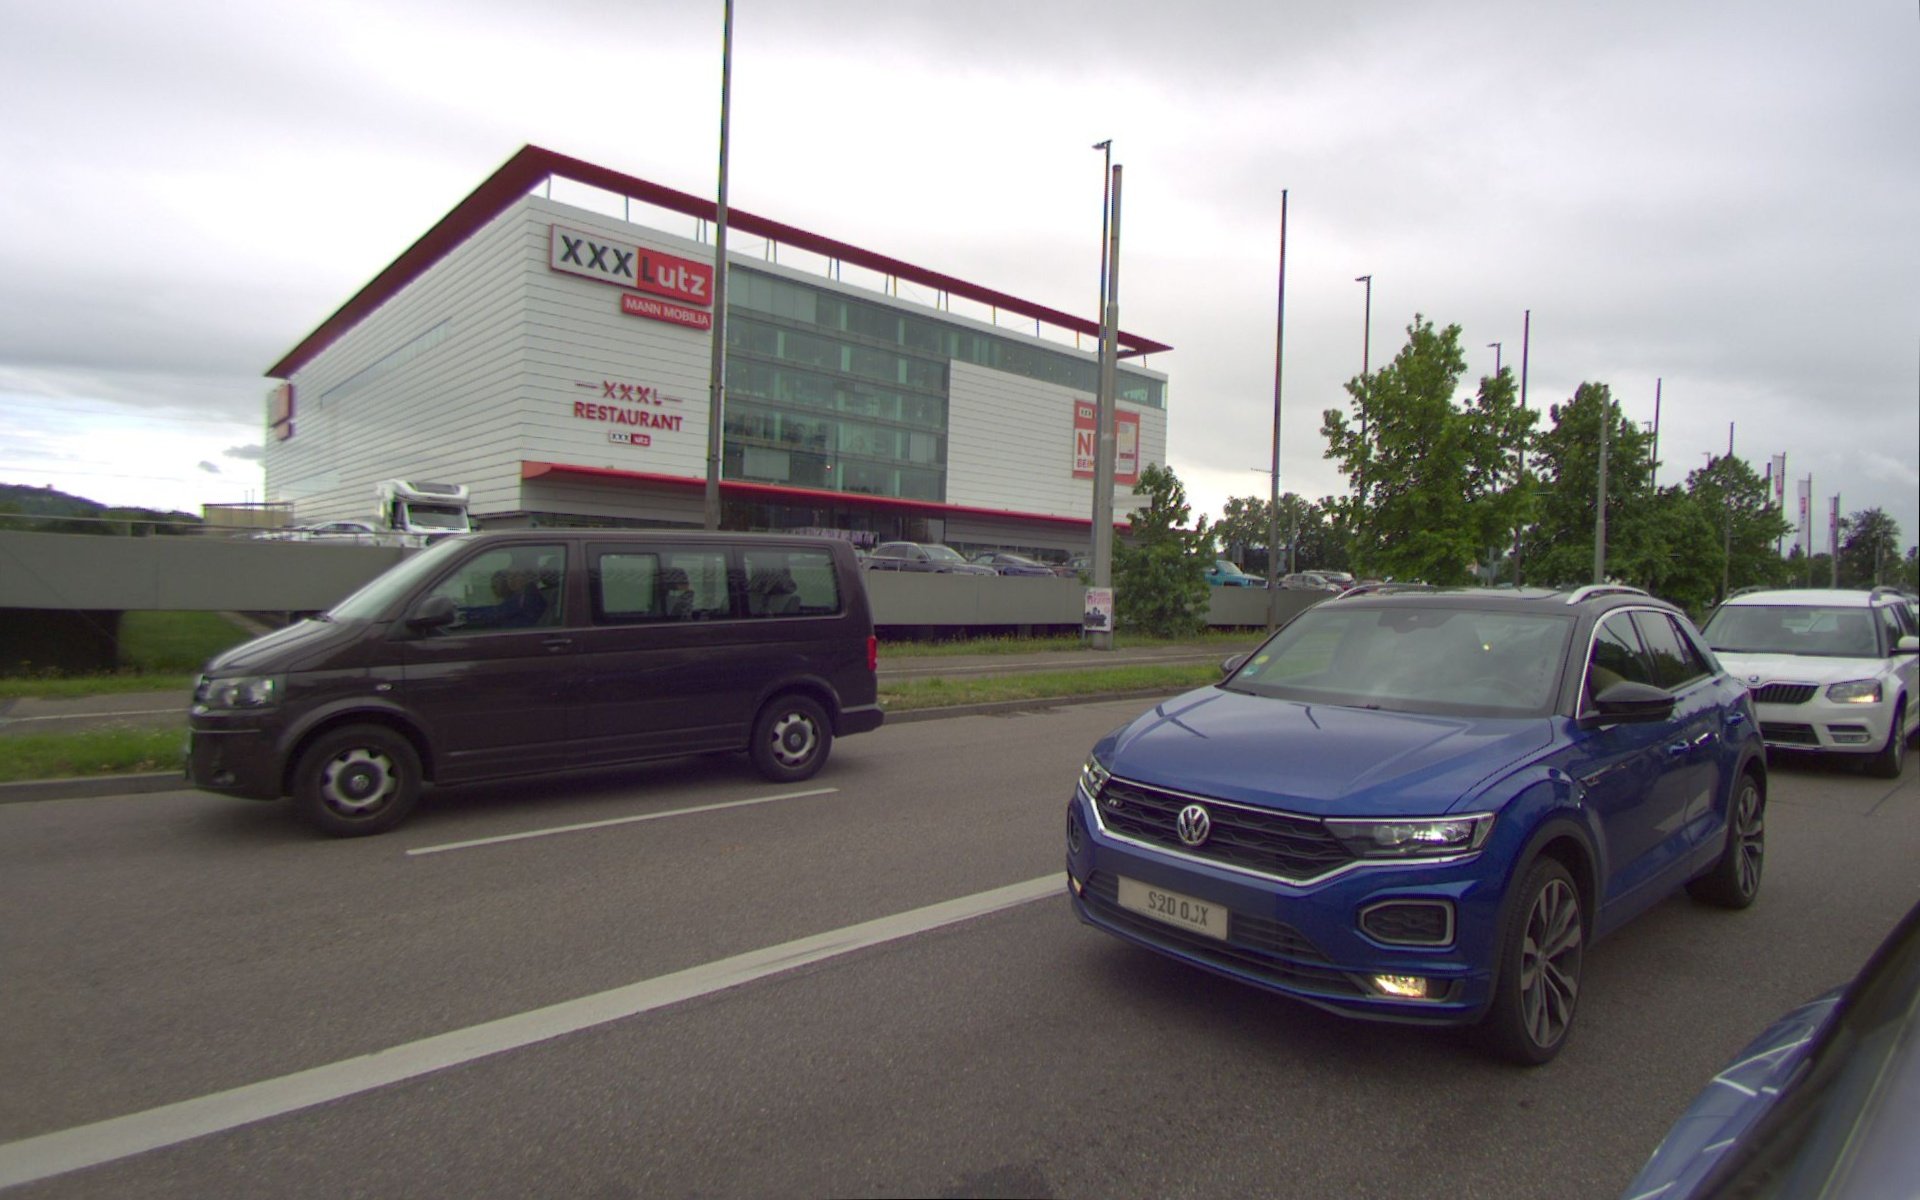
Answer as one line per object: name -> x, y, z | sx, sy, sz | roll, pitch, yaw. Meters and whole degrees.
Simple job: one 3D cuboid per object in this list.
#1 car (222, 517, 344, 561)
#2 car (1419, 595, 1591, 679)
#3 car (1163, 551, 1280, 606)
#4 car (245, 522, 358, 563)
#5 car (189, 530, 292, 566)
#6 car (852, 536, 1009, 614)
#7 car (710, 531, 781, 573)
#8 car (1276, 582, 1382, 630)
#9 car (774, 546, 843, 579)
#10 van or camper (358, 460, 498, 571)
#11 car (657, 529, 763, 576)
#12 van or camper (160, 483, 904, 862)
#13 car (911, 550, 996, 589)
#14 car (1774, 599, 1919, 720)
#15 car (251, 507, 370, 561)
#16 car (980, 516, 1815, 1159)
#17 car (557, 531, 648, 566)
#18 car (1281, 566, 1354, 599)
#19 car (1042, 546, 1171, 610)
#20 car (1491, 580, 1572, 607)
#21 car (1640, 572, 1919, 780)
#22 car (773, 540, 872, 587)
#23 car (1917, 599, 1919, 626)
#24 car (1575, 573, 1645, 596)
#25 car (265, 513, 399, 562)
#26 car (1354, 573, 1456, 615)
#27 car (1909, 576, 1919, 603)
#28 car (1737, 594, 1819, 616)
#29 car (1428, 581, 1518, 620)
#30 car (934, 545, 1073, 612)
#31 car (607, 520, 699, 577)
car -> -29.035, -2.590, 43.487 | 4.185, 1.697, 1.774 | -1, 0, -41
car -> 10.277, 0.616, 18.964 | 3.860, 1.389, 1.691 | -1, 1, -43
car -> 10.087, -0.802, 39.197 | 1.966, 2.039, 3.991 | 0, 0, -42
car -> -30.161, -2.589, 46.421 | 4.185, 1.697, 1.774 | -1, 0, -41
car -> -36.765, -2.628, 51.781 | 4.185, 1.697, 1.774 | -1, 0, -41
car -> -0.905, -0.672, 28.656 | 1.967, 2.039, 4.522 | 0, 0, -43
car -> -11.351, -2.507, 53.391 | 1.966, 2.039, 3.991 | 0, 0, -42
car -> 16.423, 0.231, 45.186 | 1.966, 2.039, 3.991 | 0, 0, -42
car -> -8.578, -2.098, 57.293 | 1.967, 1.761, 3.991 | -1, 0, -43
van or camper -> -17.985, -2.637, 33.955 | 2.667, 3.175, 7.226 | 0, 0, -40
car -> -8.713, -1.610, 35.063 | 1.839, 1.455, 3.984 | -1, 1, -44
van or camper -> -3.037, 0.361, 7.798 | 4.852, 2.039, 2.163 | -1, 0, -38
car -> -0.355, -1.435, 49.027 | 1.967, 1.761, 3.991 | -1, 0, -43
car -> 12.938, 0.727, 14.086 | 4.145, 1.433, 1.800 | -1, 0, -41
car -> -26.804, -2.663, 41.793 | 3.929, 2.039, 1.998 | -1, 0, -40
car -> 2.291, 0.580, 4.673 | 4.255, 1.642, 1.845 | -1, 0, -40
car -> -18.707, -2.662, 53.016 | 4.185, 1.697, 1.774 | -1, 0, -41
car -> 22.904, -1.091, 64.940 | 1.966, 2.039, 3.991 | 0, 0, -42
car -> 4.928, -0.706, 34.373 | 1.966, 2.039, 3.991 | 0, 0, -42
car -> 35.040, -0.407, 62.150 | 1.765, 1.585, 3.994 | -1, 0, -40
car -> 8.508, 0.573, 10.054 | 4.297, 1.645, 1.798 | -1, 0, -40
car -> -6.244, -1.626, 46.019 | 4.145, 2.039, 1.979 | 0, 0, 30
car -> 60.158, 0.847, 62.016 | 4.144, 1.594, 1.800 | 3, -2, -41
car -> 47.514, -1.109, 74.003 | 1.765, 1.585, 3.994 | -1, 0, -40
car -> -24.300, -2.375, 39.227 | 4.185, 1.697, 1.774 | -1, 0, -41
car -> 22.660, -0.328, 51.641 | 1.966, 2.039, 4.317 | 0, 0, -42
car -> 83.598, -0.843, 87.555 | 3.933, 2.270, 1.996 | 1, 1, -44
car -> 57.165, 0.324, 70.783 | 1.771, 1.433, 4.212 | -1, 1, -41
car -> 28.067, 0.018, 55.422 | 1.965, 2.039, 3.994 | 0, 0, -41
car -> 1.274, -0.621, 30.628 | 1.967, 1.872, 3.991 | -1, 0, -43
car -> -11.697, -1.910, 38.465 | 1.839, 1.972, 3.859 | 0, 0, -44
